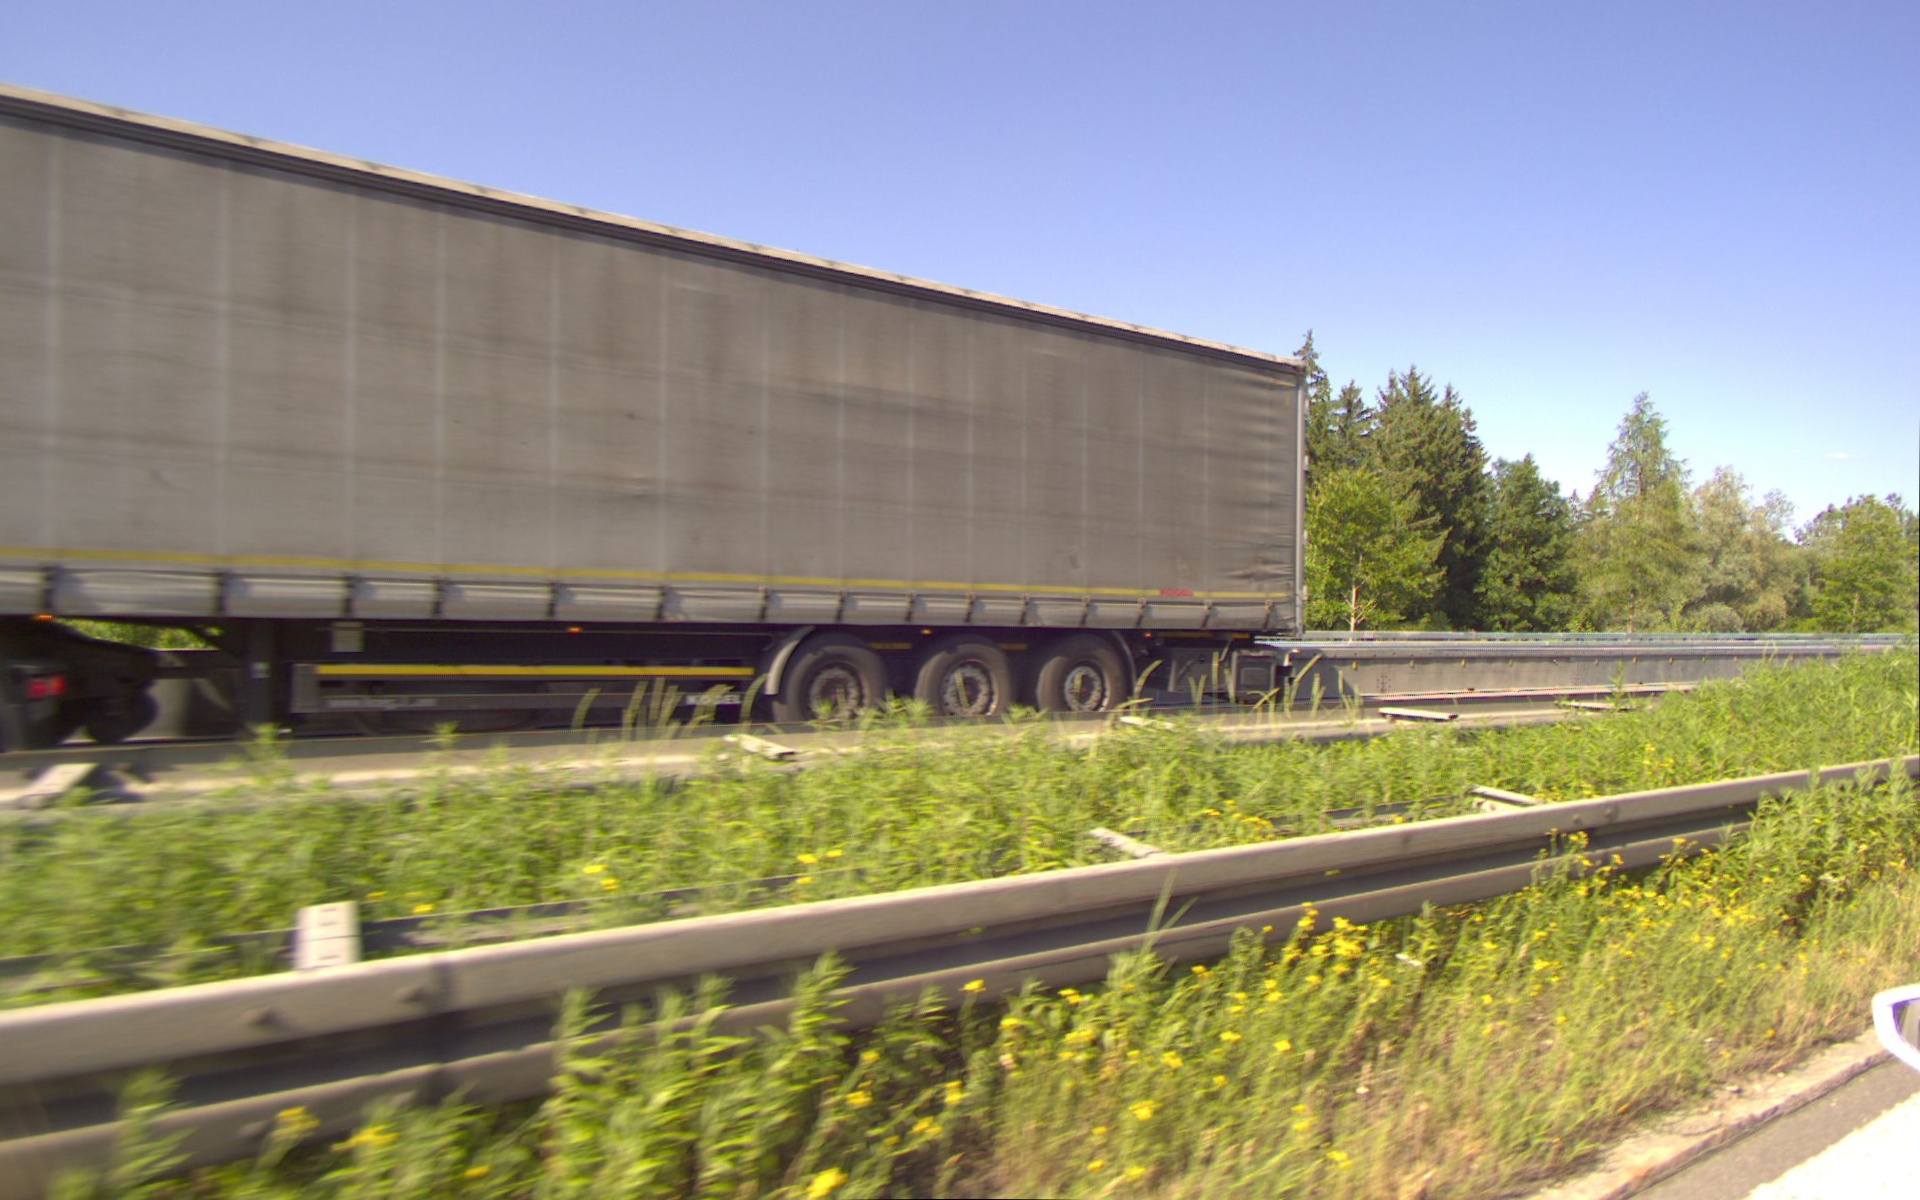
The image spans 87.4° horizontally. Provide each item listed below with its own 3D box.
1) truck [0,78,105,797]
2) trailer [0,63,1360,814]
[{"bbox_3d":[-8.369,-0.971,5.260,5.412,4.142,2.757,2,-1,-31],"label":"truck"},{"bbox_3d":[-2.104,-0.764,9.020,13.835,4.124,2.728,2,-1,-31],"label":"trailer"}]
